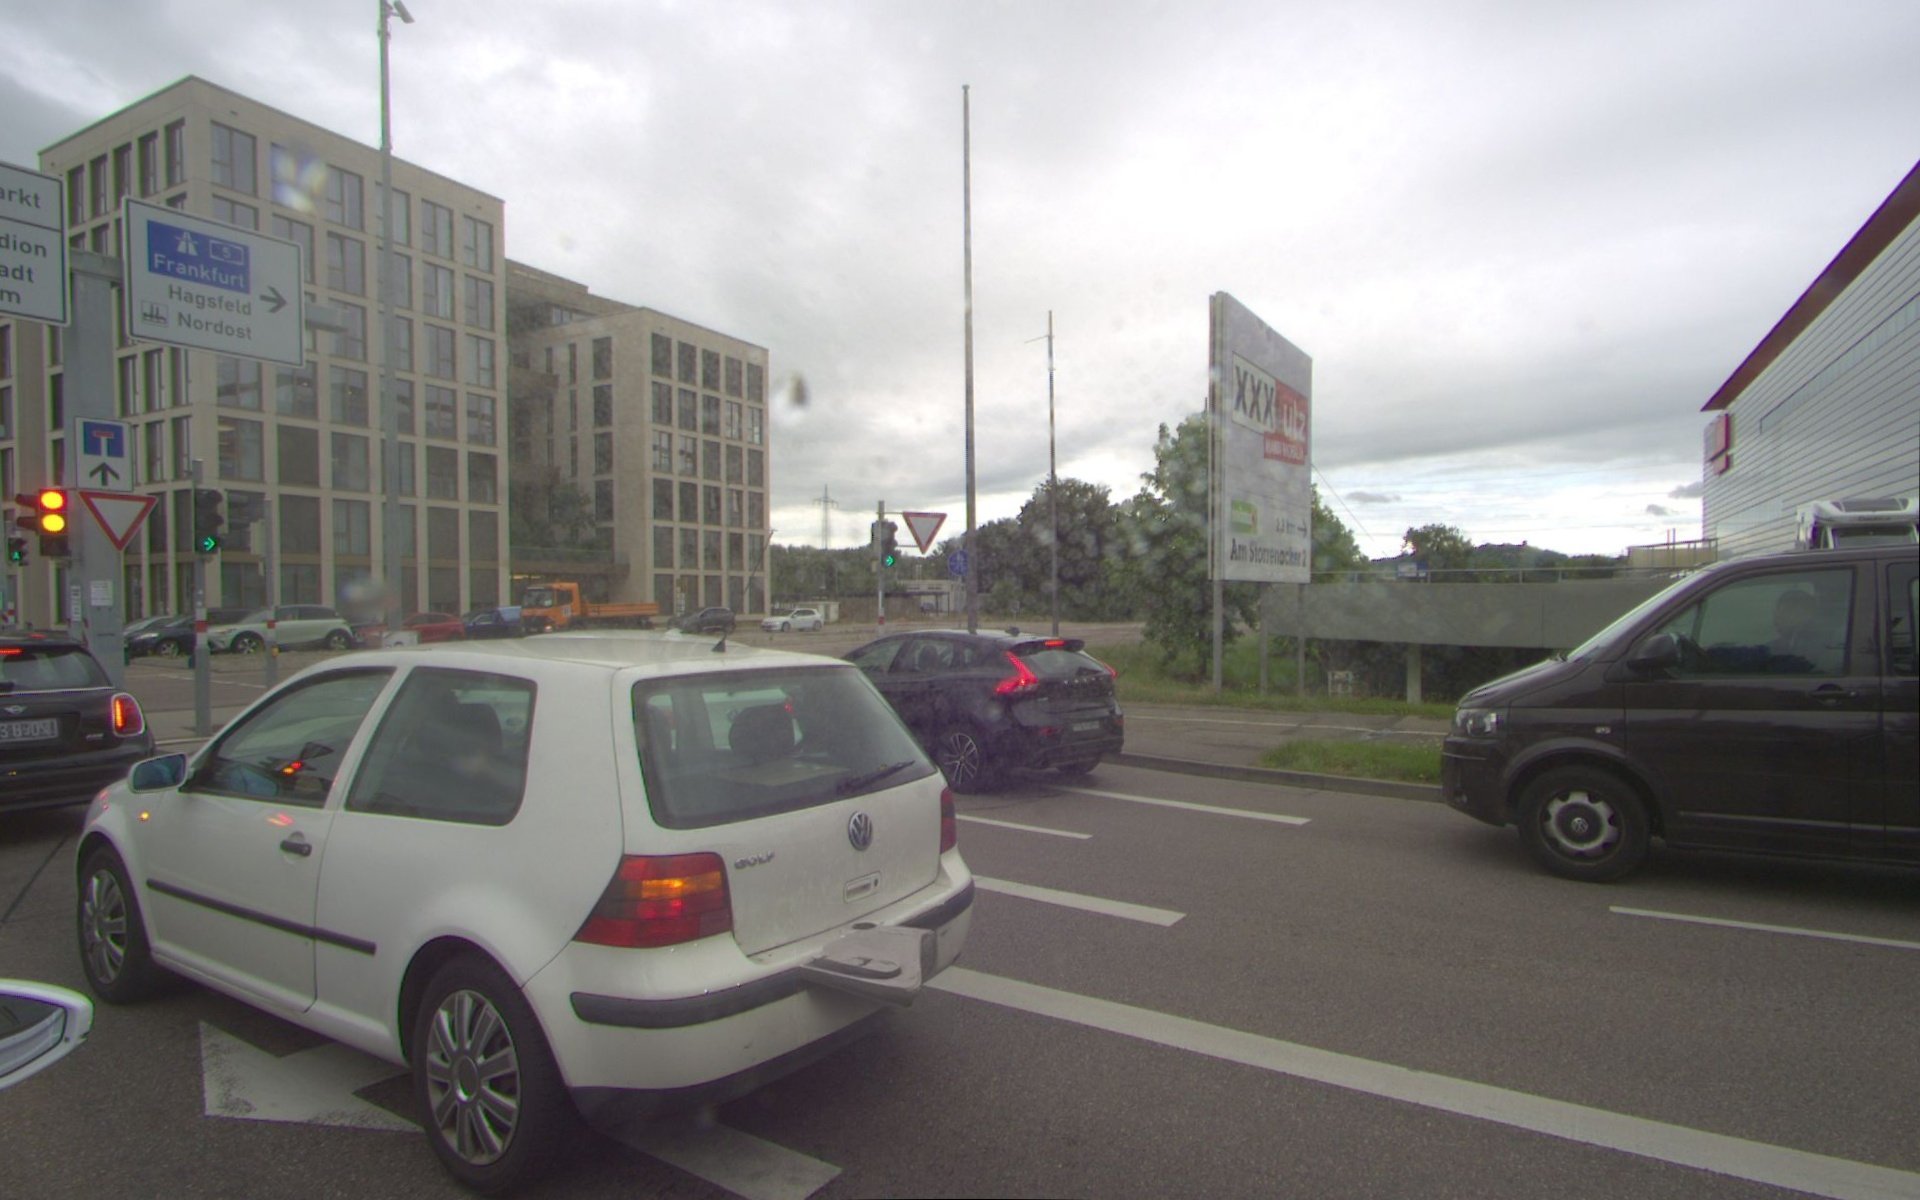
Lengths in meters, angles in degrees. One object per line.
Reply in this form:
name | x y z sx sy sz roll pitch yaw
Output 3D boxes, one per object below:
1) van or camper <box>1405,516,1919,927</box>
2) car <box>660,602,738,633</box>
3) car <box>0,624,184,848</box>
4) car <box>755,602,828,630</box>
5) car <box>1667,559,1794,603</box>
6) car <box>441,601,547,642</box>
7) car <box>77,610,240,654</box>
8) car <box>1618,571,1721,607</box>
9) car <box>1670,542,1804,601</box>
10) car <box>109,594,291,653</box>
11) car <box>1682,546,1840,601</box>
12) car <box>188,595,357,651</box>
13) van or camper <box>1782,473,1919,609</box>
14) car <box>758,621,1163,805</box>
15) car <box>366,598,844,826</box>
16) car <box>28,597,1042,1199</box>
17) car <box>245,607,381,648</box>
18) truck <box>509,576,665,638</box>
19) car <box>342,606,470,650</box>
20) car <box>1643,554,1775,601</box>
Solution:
van or camper | 5.433 0.631 5.829 4.878 2.039 2.151 -1 -2 35
car | -15.021 1.055 57.794 1.972 1.678 4.098 -1 -2 33
car | -7.591 0.912 7.453 3.592 1.433 1.783 -1 -2 33
car | -10.621 1.035 63.331 1.977 1.678 4.326 -2 -2 41
car | 33.364 -0.797 43.510 4.199 1.697 1.768 -1 -2 32
car | -21.546 1.025 46.452 1.969 1.791 4.134 -1 -2 28
car | -27.748 1.115 34.814 1.724 1.450 4.083 -1 -2 28
car | 36.374 -0.539 51.491 4.199 1.697 1.768 -1 -2 32
car | 30.049 -1.057 38.897 3.945 2.039 1.989 -1 -2 34
car | -24.993 0.803 33.114 1.969 1.791 4.405 -1 -2 28
car | 28.408 -0.891 35.711 4.199 1.697 1.768 -1 -2 32
car | -21.875 0.776 32.023 1.875 1.664 4.055 -1 -2 27
van or camper | 25.391 -1.441 28.040 2.676 3.175 7.201 -1 -2 32
car | -0.181 0.979 10.191 1.885 1.467 4.144 1 -2 -41
car | -3.073 0.778 8.295 4.146 1.428 1.822 -2 -2 38
car | -1.840 0.810 4.010 3.948 1.496 1.829 -1 -2 32
car | -25.246 1.109 39.223 1.843 1.509 4.134 -1 -2 28
truck | -17.324 0.430 46.969 2.779 2.672 6.647 -1 -2 30
car | -21.626 1.122 39.233 1.970 1.622 3.984 -1 -2 29
car | 30.956 -0.886 41.557 4.199 1.697 1.768 -1 -2 32
